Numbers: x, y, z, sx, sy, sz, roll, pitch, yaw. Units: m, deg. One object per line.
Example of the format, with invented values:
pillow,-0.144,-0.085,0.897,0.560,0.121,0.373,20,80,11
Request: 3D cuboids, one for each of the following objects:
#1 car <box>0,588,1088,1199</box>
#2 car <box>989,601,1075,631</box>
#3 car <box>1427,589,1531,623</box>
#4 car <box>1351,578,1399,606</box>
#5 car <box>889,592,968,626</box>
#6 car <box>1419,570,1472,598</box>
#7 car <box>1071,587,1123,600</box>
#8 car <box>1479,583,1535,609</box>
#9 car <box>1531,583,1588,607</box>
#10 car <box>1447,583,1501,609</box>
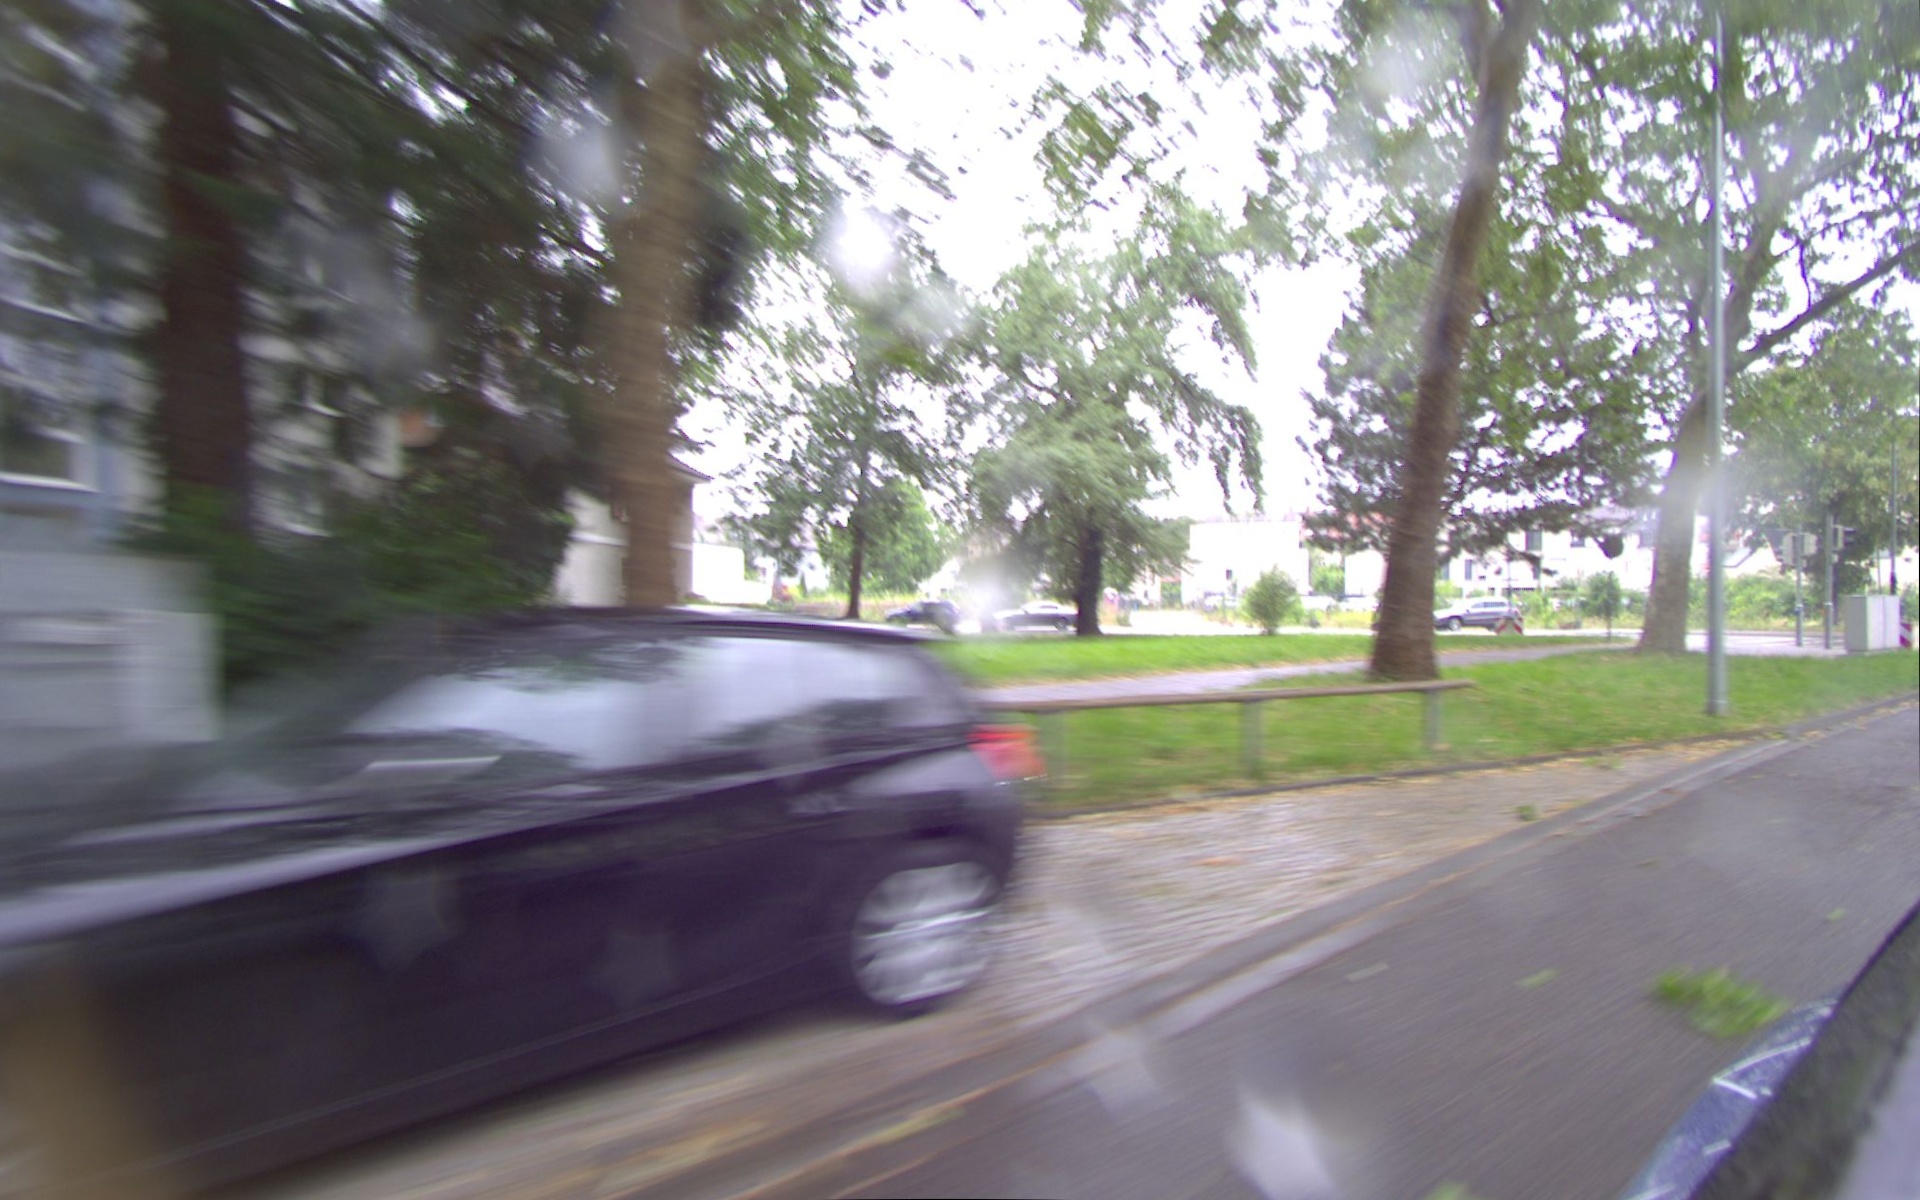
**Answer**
car,-1.528,0.689,3.166,4.078,1.408,1.550,0,-1,-42
car,3.876,0.873,54.327,4.456,1.568,1.975,0,-1,10
car,26.234,0.325,51.244,4.229,1.675,1.857,0,-1,5
car,31.401,-0.548,76.712,1.962,2.039,3.999,0,-1,0
car,-1.713,0.503,55.563,4.022,1.833,1.876,0,-1,10
car,36.354,-1.184,75.872,1.962,2.039,3.999,0,-1,0
car,12.114,-0.576,89.627,4.342,1.150,1.758,0,-1,19
car,40.834,-0.281,75.710,1.962,1.883,4.000,0,-1,0
car,45.243,-0.346,76.465,1.873,1.705,3.999,0,-1,0
car,38.475,-0.293,75.816,1.962,1.883,4.000,0,-1,0
